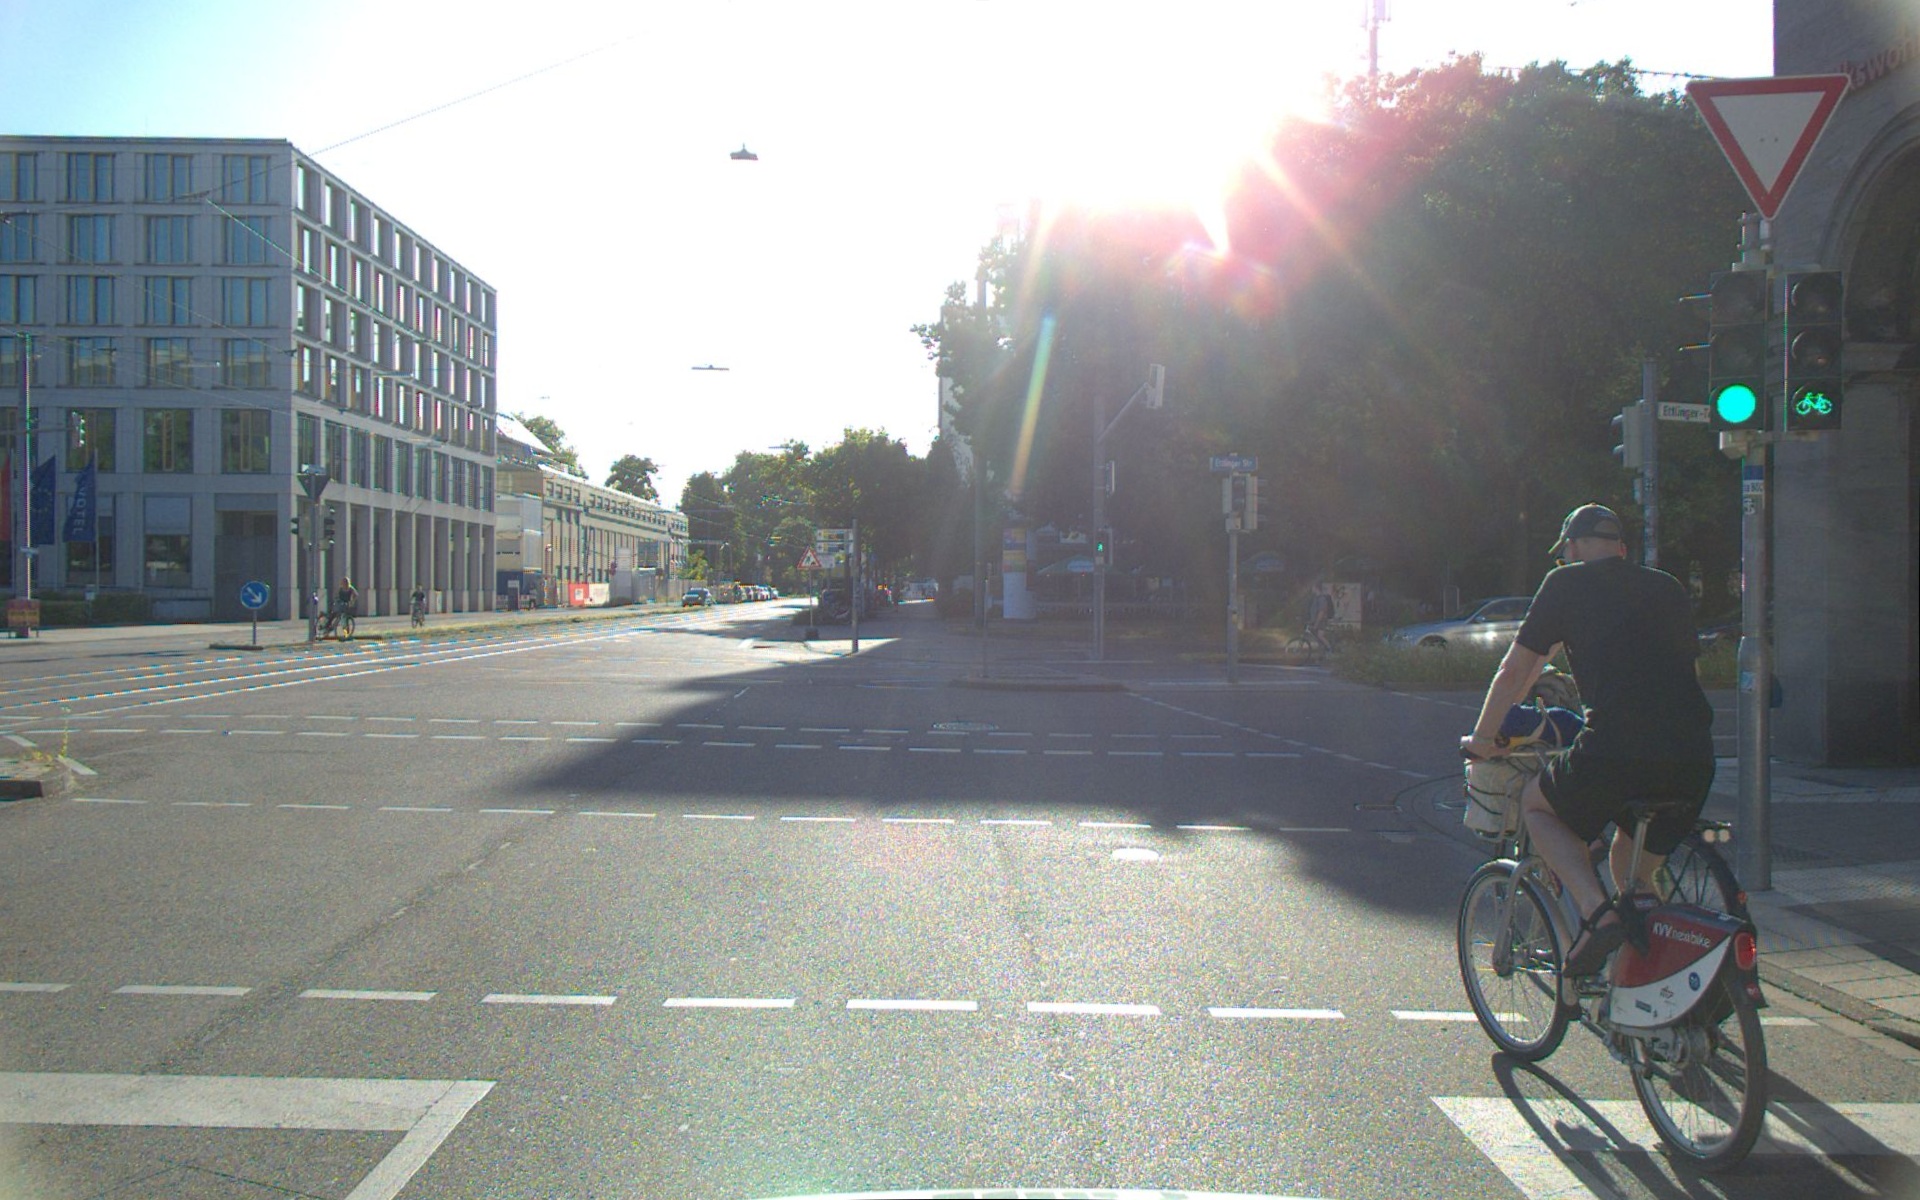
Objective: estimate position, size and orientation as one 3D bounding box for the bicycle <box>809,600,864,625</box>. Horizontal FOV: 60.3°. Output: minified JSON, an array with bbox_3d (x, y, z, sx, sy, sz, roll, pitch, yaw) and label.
[{"bbox_3d":[-5.029,0.504,67.119,2.201,0.956,0.653,0,0,-6],"label":"bicycle"}]

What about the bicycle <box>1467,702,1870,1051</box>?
[{"bbox_3d":[2.703,0.997,6.535,0.572,1.062,1.742,0,0,-12],"label":"bicycle"}]

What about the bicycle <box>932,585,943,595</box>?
[{"bbox_3d":[-2.748,-1.210,200.403,0.875,1.240,2.785,1,0,-12],"label":"bicycle"}]

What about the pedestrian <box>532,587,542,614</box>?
[{"bbox_3d":[-30.564,0.063,119.561,0.576,1.922,0.478,1,-1,-1],"label":"pedestrian"}]

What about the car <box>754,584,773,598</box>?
[{"bbox_3d":[-23.052,-1.024,194.354,1.954,1.673,3.997,0,0,-4],"label":"car"}]

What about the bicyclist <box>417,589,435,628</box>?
[{"bbox_3d":[-21.078,0.331,65.267,0.484,1.525,0.666,0,0,2],"label":"bicyclist"}]

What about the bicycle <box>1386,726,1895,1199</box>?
[{"bbox_3d":[1.966,0.992,5.078,0.612,1.062,1.743,0,0,-10],"label":"bicycle"}]

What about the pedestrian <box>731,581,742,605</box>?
[{"bbox_3d":[-19.436,-0.579,143.939,0.735,2.099,1.050,1,-1,5],"label":"pedestrian"}]

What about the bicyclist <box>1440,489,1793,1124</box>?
[{"bbox_3d":[1.965,0.564,5.057,0.612,1.745,0.910,0,0,-11],"label":"bicyclist"}]

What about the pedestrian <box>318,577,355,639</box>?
[{"bbox_3d":[-16.527,0.215,43.858,0.727,1.623,0.573,0,0,26],"label":"pedestrian"}]

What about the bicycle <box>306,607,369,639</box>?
[{"bbox_3d":[-16.513,0.613,43.855,1.679,0.837,0.573,0,0,27],"label":"bicycle"}]

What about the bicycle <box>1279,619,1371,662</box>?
[{"bbox_3d":[8.036,0.888,36.482,1.902,0.905,0.718,1,0,5],"label":"bicycle"}]

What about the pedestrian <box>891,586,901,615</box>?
[{"bbox_3d":[-3.779,0.013,97.484,0.566,1.719,0.584,0,0,-8],"label":"pedestrian"}]

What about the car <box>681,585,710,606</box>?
[{"bbox_3d":[-21.658,-0.379,135.432,1.954,1.627,3.997,0,0,-3],"label":"car"}]

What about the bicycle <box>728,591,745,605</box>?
[{"bbox_3d":[-19.452,-0.164,143.924,0.735,1.226,3.109,1,0,5],"label":"bicycle"}]

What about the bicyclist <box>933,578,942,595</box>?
[{"bbox_3d":[-2.728,-1.642,200.391,0.875,2.049,0.746,1,-1,-12],"label":"bicyclist"}]

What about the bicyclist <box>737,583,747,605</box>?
[{"bbox_3d":[-19.736,-0.524,149.657,0.735,1.953,1.214,1,0,-2],"label":"bicyclist"}]

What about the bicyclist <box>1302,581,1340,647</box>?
[{"bbox_3d":[7.957,0.312,36.489,0.731,1.431,0.702,1,-1,6],"label":"bicyclist"}]

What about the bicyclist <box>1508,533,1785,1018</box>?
[{"bbox_3d":[2.688,0.635,6.557,0.573,1.769,0.947,0,0,-12],"label":"bicyclist"}]

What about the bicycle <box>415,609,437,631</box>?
[{"bbox_3d":[-21.074,0.790,65.290,0.484,0.854,1.156,-1,0,2],"label":"bicycle"}]

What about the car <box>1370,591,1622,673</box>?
[{"bbox_3d":[10.851,0.637,33.721,4.483,1.543,2.000,1,0,-1],"label":"car"}]

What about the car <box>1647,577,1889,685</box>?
[{"bbox_3d":[16.230,0.617,33.376,3.905,2.049,2.000,1,0,0],"label":"car"}]
